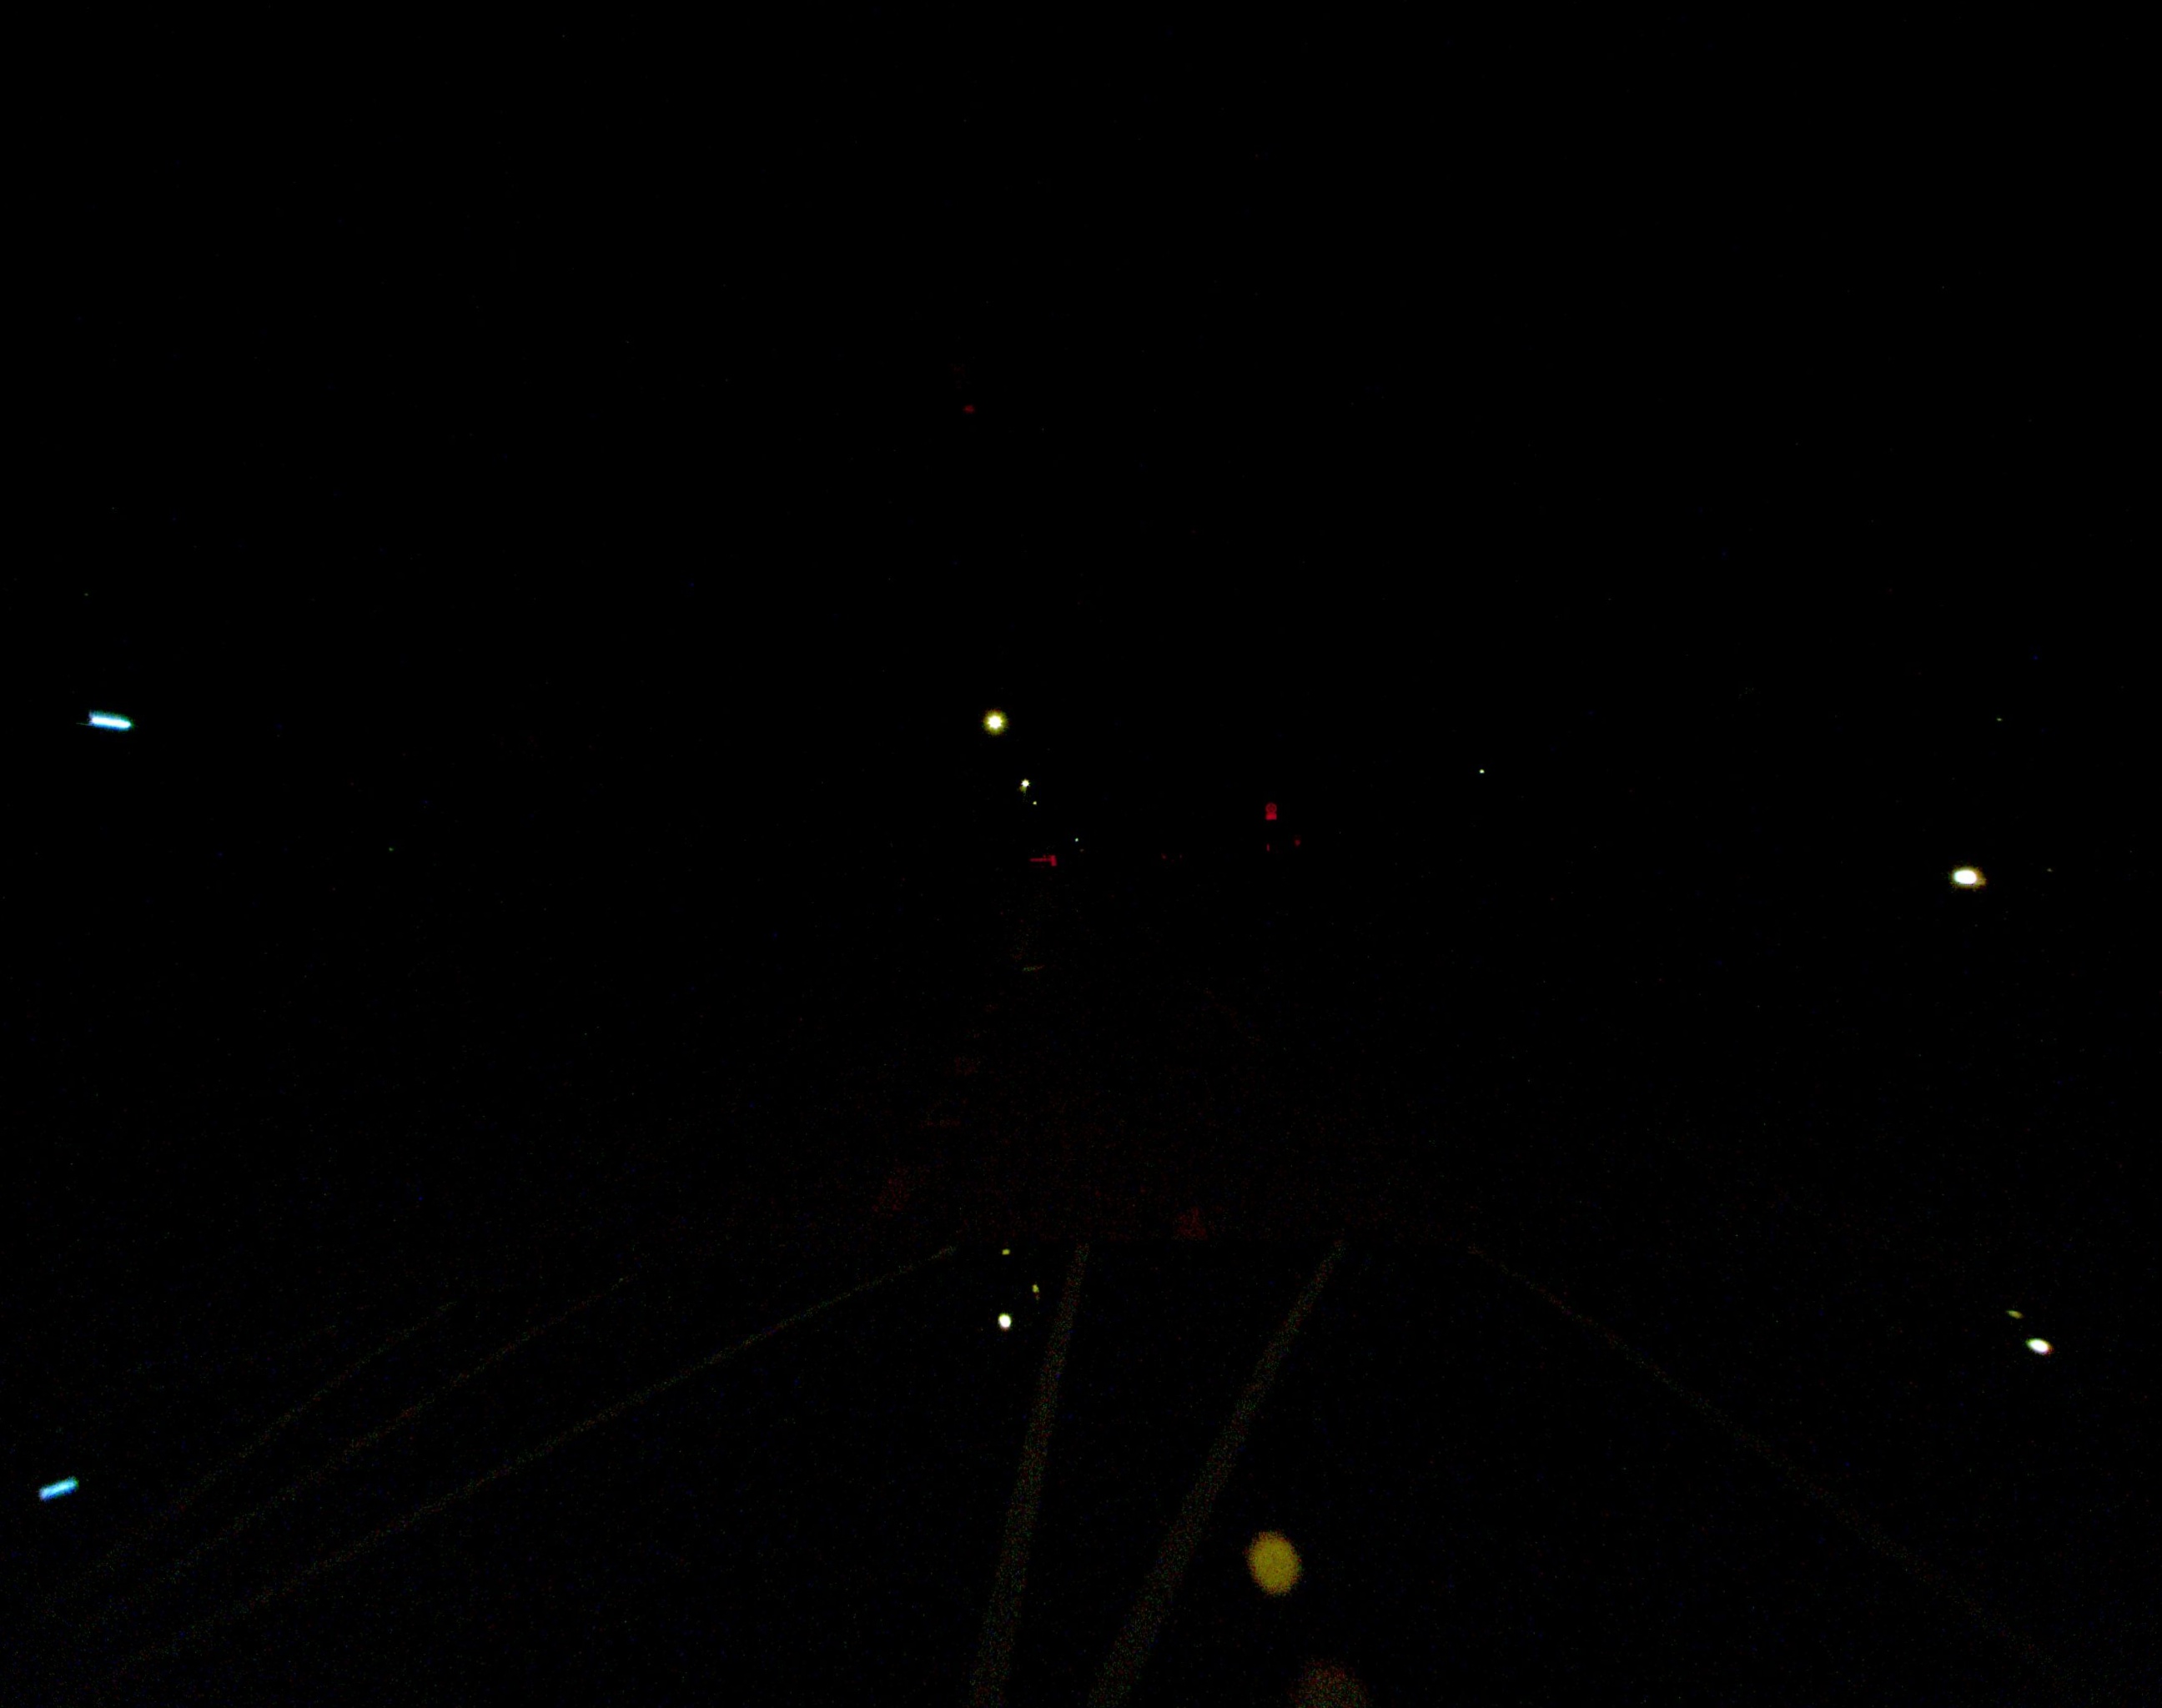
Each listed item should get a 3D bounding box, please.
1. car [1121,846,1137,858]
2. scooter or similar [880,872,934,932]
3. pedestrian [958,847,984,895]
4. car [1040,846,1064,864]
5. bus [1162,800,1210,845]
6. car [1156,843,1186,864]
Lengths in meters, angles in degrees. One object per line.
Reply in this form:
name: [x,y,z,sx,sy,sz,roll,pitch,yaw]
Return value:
car: [6.306,-0.293,100.523,1.863,1.484,4.080,-2,1,1]
scooter or similar: [-3.661,1.001,16.057,0.468,1.195,1.137,-2,-1,24]
pedestrian: [-4.402,0.661,30.419,0.819,1.854,1.034,-2,1,1]
car: [-2.905,0.091,78.133,1.998,1.638,4.000,1,2,4]
bus: [17.606,-5.181,129.202,6.135,6.898,14.781,-2,1,1]
car: [7.145,-0.047,60.821,1.806,1.583,3.999,-2,1,-1]
